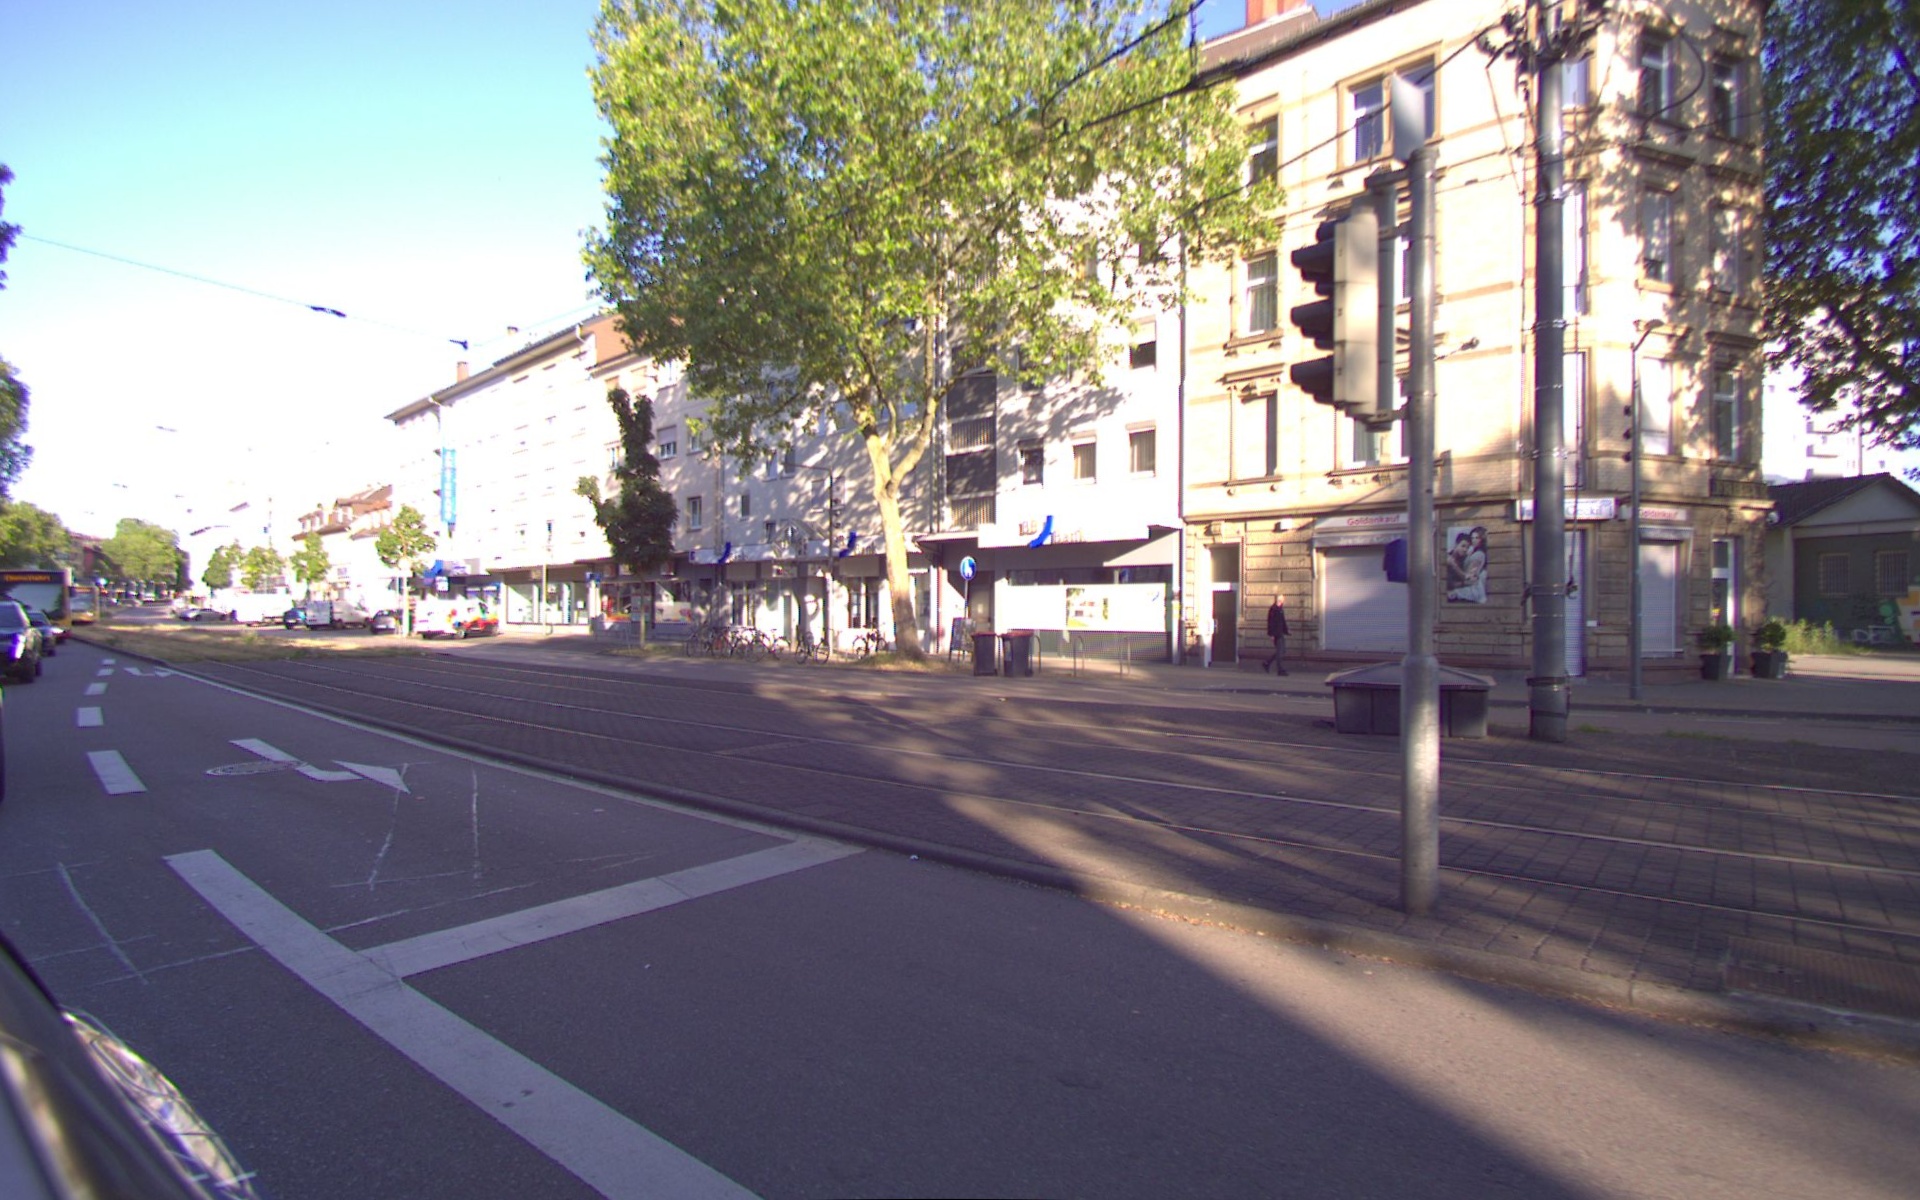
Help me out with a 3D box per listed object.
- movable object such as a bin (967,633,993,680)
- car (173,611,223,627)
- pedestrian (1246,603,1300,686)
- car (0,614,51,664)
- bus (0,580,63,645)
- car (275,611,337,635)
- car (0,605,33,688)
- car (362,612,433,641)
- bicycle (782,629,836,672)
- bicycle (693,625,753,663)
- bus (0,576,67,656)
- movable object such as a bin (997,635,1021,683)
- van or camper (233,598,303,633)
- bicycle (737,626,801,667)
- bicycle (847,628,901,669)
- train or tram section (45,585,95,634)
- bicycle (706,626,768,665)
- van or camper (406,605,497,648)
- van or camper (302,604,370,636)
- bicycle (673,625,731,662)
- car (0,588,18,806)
[{"bbox_3d":[0.476,1.353,24.235,0.537,1.102,0.648,0,-2,-5],"label":"movable object such as a bin"},{"bbox_3d":[-81.440,2.049,108.176,1.758,1.501,3.887,-1,1,22],"label":"car"},{"bbox_3d":[7.089,0.989,22.936,0.611,1.801,0.972,-2,0,-40],"label":"pedestrian"},{"bbox_3d":[-30.035,1.213,32.172,1.634,1.497,4.166,1,-1,-42],"label":"car"},{"bbox_3d":[-48.339,0.523,52.293,2.830,3.001,12.256,-2,2,-42],"label":"bus"},{"bbox_3d":[-47.363,1.654,73.395,1.854,1.598,3.998,-1,1,2],"label":"car"},{"bbox_3d":[-19.910,0.906,20.476,1.634,1.593,4.005,1,-1,-42],"label":"car"},{"bbox_3d":[-32.733,1.495,58.986,1.744,1.501,4.453,-1,1,-2],"label":"car"},{"bbox_3d":[-4.282,1.404,28.582,0.502,1.133,1.913,0,0,-43],"label":"bicycle"},{"bbox_3d":[-7.552,1.400,32.345,0.534,1.133,1.873,-1,0,43],"label":"bicycle"},{"bbox_3d":[-40.165,0.553,43.238,2.830,3.001,12.256,-2,2,-42],"label":"bus"},{"bbox_3d":[1.144,1.366,23.679,0.470,1.102,0.574,0,-2,-5],"label":"movable object such as a bin"},{"bbox_3d":[-57.003,1.222,83.502,1.969,2.687,6.408,-1,1,-7],"label":"van or camper"},{"bbox_3d":[-5.752,1.385,30.582,0.652,1.133,1.873,-1,0,43],"label":"bicycle"},{"bbox_3d":[-2.555,1.415,29.999,0.502,1.133,1.913,0,0,-43],"label":"bicycle"},{"bbox_3d":[-67.564,0.705,76.987,2.599,3.476,11.147,-1,0,-40],"label":"train or tram section"},{"bbox_3d":[-6.981,1.398,31.780,0.652,1.133,1.873,-1,0,43],"label":"bicycle"},{"bbox_3d":[-25.242,1.261,50.464,1.925,1.912,4.811,-1,1,3],"label":"van or camper"},{"bbox_3d":[-42.298,1.348,68.696,1.775,2.004,4.450,-1,1,1],"label":"van or camper"},{"bbox_3d":[-8.453,1.407,33.219,0.534,1.133,1.873,-1,0,43],"label":"bicycle"},{"bbox_3d":[-8.767,0.754,8.019,1.781,1.660,4.006,0,0,-41],"label":"car"}]
